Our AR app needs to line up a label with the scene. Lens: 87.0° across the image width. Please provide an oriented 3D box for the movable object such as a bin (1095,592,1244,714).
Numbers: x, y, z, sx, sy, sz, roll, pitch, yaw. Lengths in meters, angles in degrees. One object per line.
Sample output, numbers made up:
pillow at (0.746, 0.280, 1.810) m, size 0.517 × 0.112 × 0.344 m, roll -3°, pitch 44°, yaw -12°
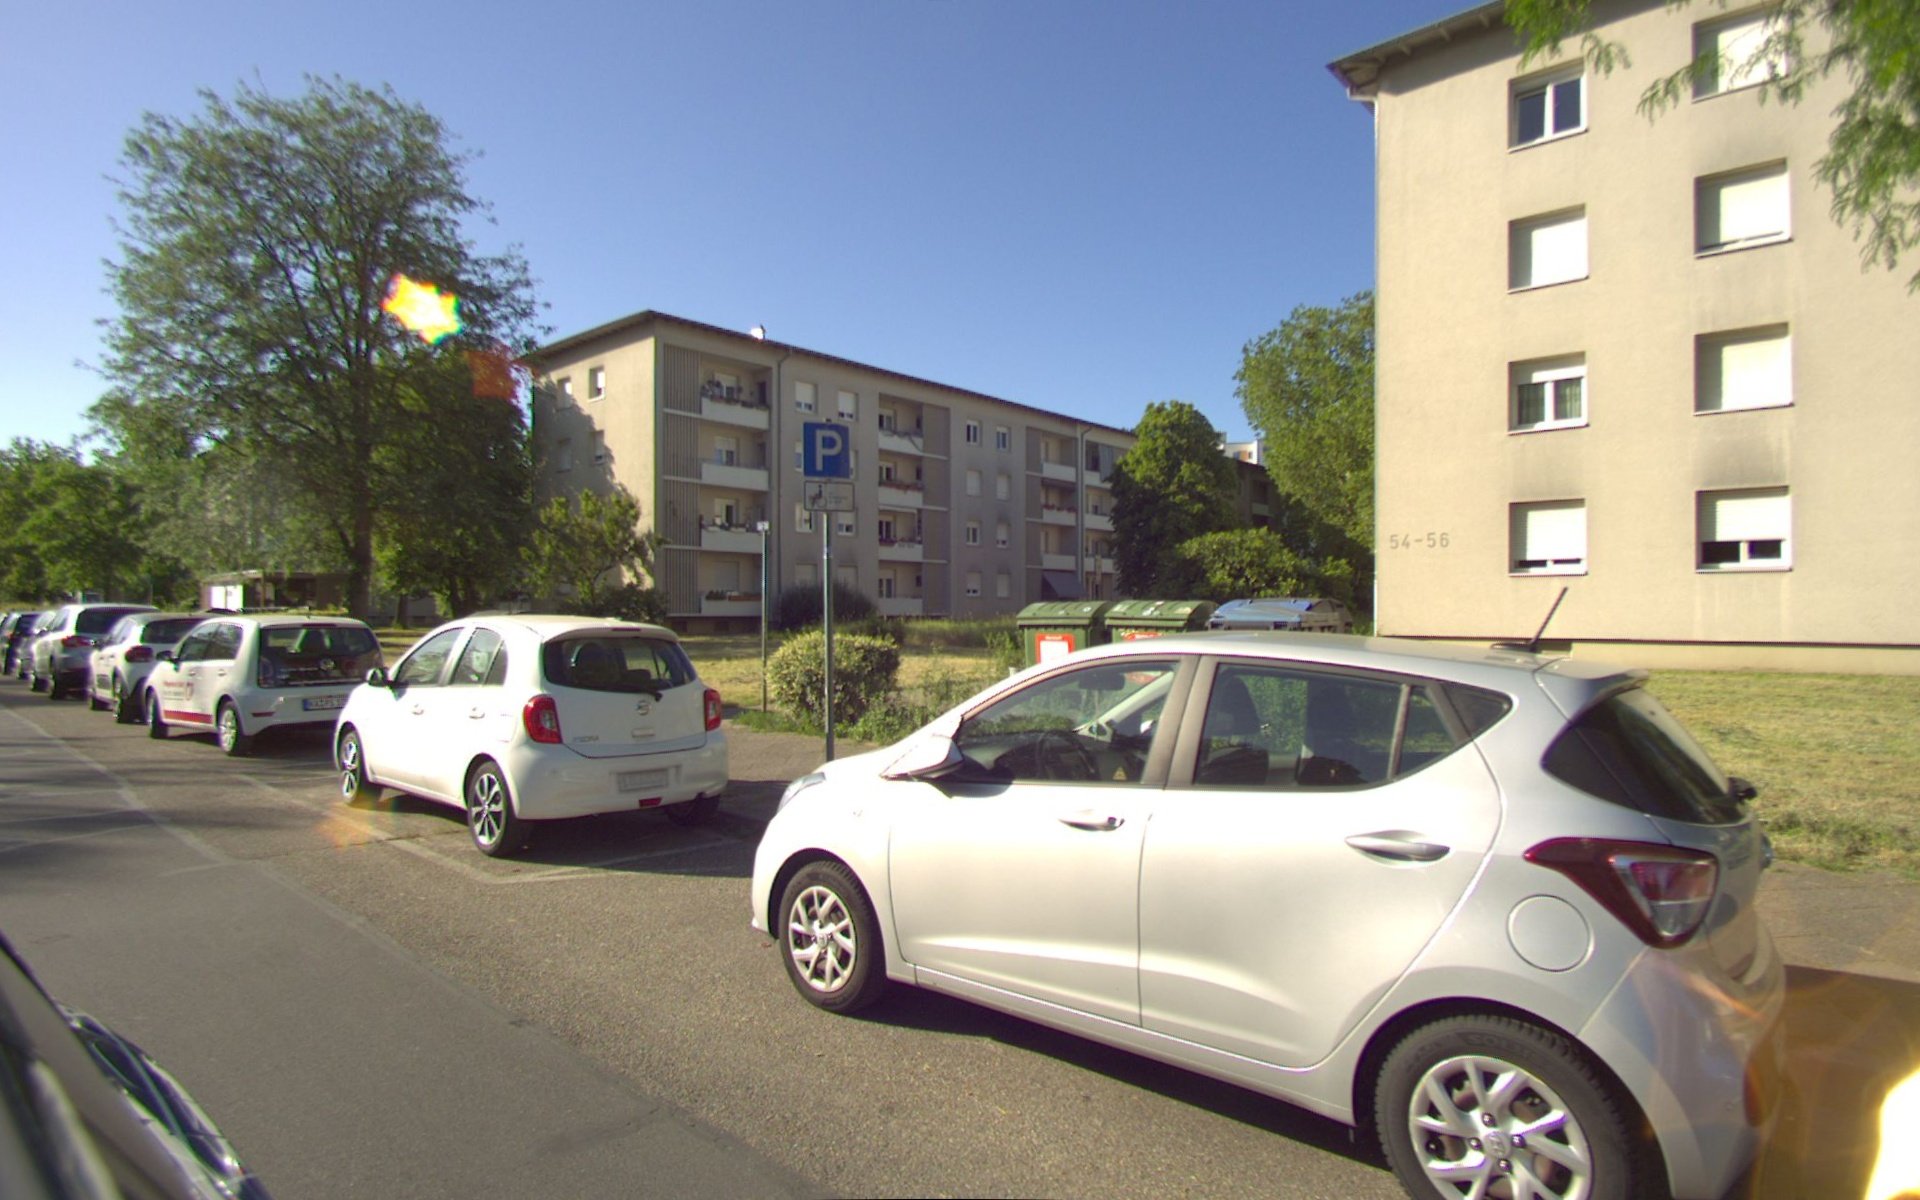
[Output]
movable object such as a bin at (2.690, 0.640, 13.019) m, size 1.462 × 1.431 × 1.165 m, roll -1°, pitch 1°, yaw 44°

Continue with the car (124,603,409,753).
car at (-8.247, 0.831, 11.961) m, size 3.530 × 1.525 × 1.648 m, roll -1°, pitch -2°, yaw 36°

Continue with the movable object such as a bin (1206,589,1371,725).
movable object such as a bin at (3.852, 0.623, 11.893) m, size 1.462 × 1.431 × 1.165 m, roll -1°, pitch 1°, yaw 44°

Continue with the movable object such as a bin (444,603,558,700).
movable object such as a bin at (-7.210, 0.776, 15.885) m, size 1.442 × 1.393 × 1.124 m, roll -1°, pitch 1°, yaw 43°

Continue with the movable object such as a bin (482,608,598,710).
movable object such as a bin at (-6.200, 0.837, 14.936) m, size 1.243 × 1.368 × 1.124 m, roll -1°, pitch 1°, yaw 43°

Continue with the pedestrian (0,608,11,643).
pedestrian at (-46.649, 1.215, 49.178) m, size 0.616 × 1.692 × 0.713 m, roll -1°, pitch -1°, yaw 41°

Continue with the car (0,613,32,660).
car at (-32.323, 1.193, 33.542) m, size 4.534 × 1.492 × 1.736 m, roll -1°, pitch -3°, yaw 41°

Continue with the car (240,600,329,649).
car at (-24.066, 0.859, 36.006) m, size 3.996 × 1.653 × 1.555 m, roll -1°, pitch 0°, yaw 40°

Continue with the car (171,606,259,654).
car at (-25.852, 1.005, 35.059) m, size 3.996 × 1.537 × 1.555 m, roll -1°, pitch 0°, yaw 40°

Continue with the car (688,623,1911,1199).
car at (0.827, 0.848, 3.753) m, size 3.815 × 1.517 × 1.669 m, roll -1°, pitch -2°, yaw 40°

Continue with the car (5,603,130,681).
car at (-20.072, 0.921, 22.721) m, size 3.533 × 1.618 × 1.619 m, roll -1°, pitch -2°, yaw 41°

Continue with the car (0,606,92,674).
car at (-23.898, 1.019, 26.116) m, size 3.968 × 1.618 × 1.735 m, roll -1°, pitch -3°, yaw 42°

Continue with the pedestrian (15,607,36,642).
pedestrian at (-46.078, 1.192, 49.887) m, size 0.600 × 1.692 × 0.713 m, roll -1°, pitch -1°, yaw 41°

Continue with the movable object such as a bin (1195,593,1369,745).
movable object such as a bin at (3.368, 0.672, 10.609) m, size 1.361 × 1.431 × 1.122 m, roll -1°, pitch 1°, yaw 43°

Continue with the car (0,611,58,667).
car at (-27.889, 1.142, 29.859) m, size 3.140 × 1.586 × 1.429 m, roll -1°, pitch -3°, yaw 41°

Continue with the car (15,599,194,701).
car at (-15.775, 0.859, 18.585) m, size 4.347 × 1.652 × 1.883 m, roll -1°, pitch -2°, yaw 42°

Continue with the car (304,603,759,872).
car at (-3.425, 0.840, 7.757) m, size 3.889 × 1.546 × 1.669 m, roll -1°, pitch -2°, yaw 41°

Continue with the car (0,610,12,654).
car at (-36.494, 1.143, 37.336) m, size 3.717 × 1.586 × 1.736 m, roll -1°, pitch -3°, yaw 40°

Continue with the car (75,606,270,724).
car at (-11.813, 0.895, 15.089) m, size 3.945 × 1.525 × 1.644 m, roll -1°, pitch -2°, yaw 43°

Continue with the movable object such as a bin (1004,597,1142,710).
movable object such as a bin at (1.561, 0.701, 14.013) m, size 1.462 × 1.431 × 1.165 m, roll -1°, pitch 1°, yaw 44°

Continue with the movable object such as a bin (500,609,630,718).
movable object such as a bin at (-5.413, 0.833, 13.863) m, size 1.343 × 1.350 × 1.165 m, roll -1°, pitch 1°, yaw 43°
